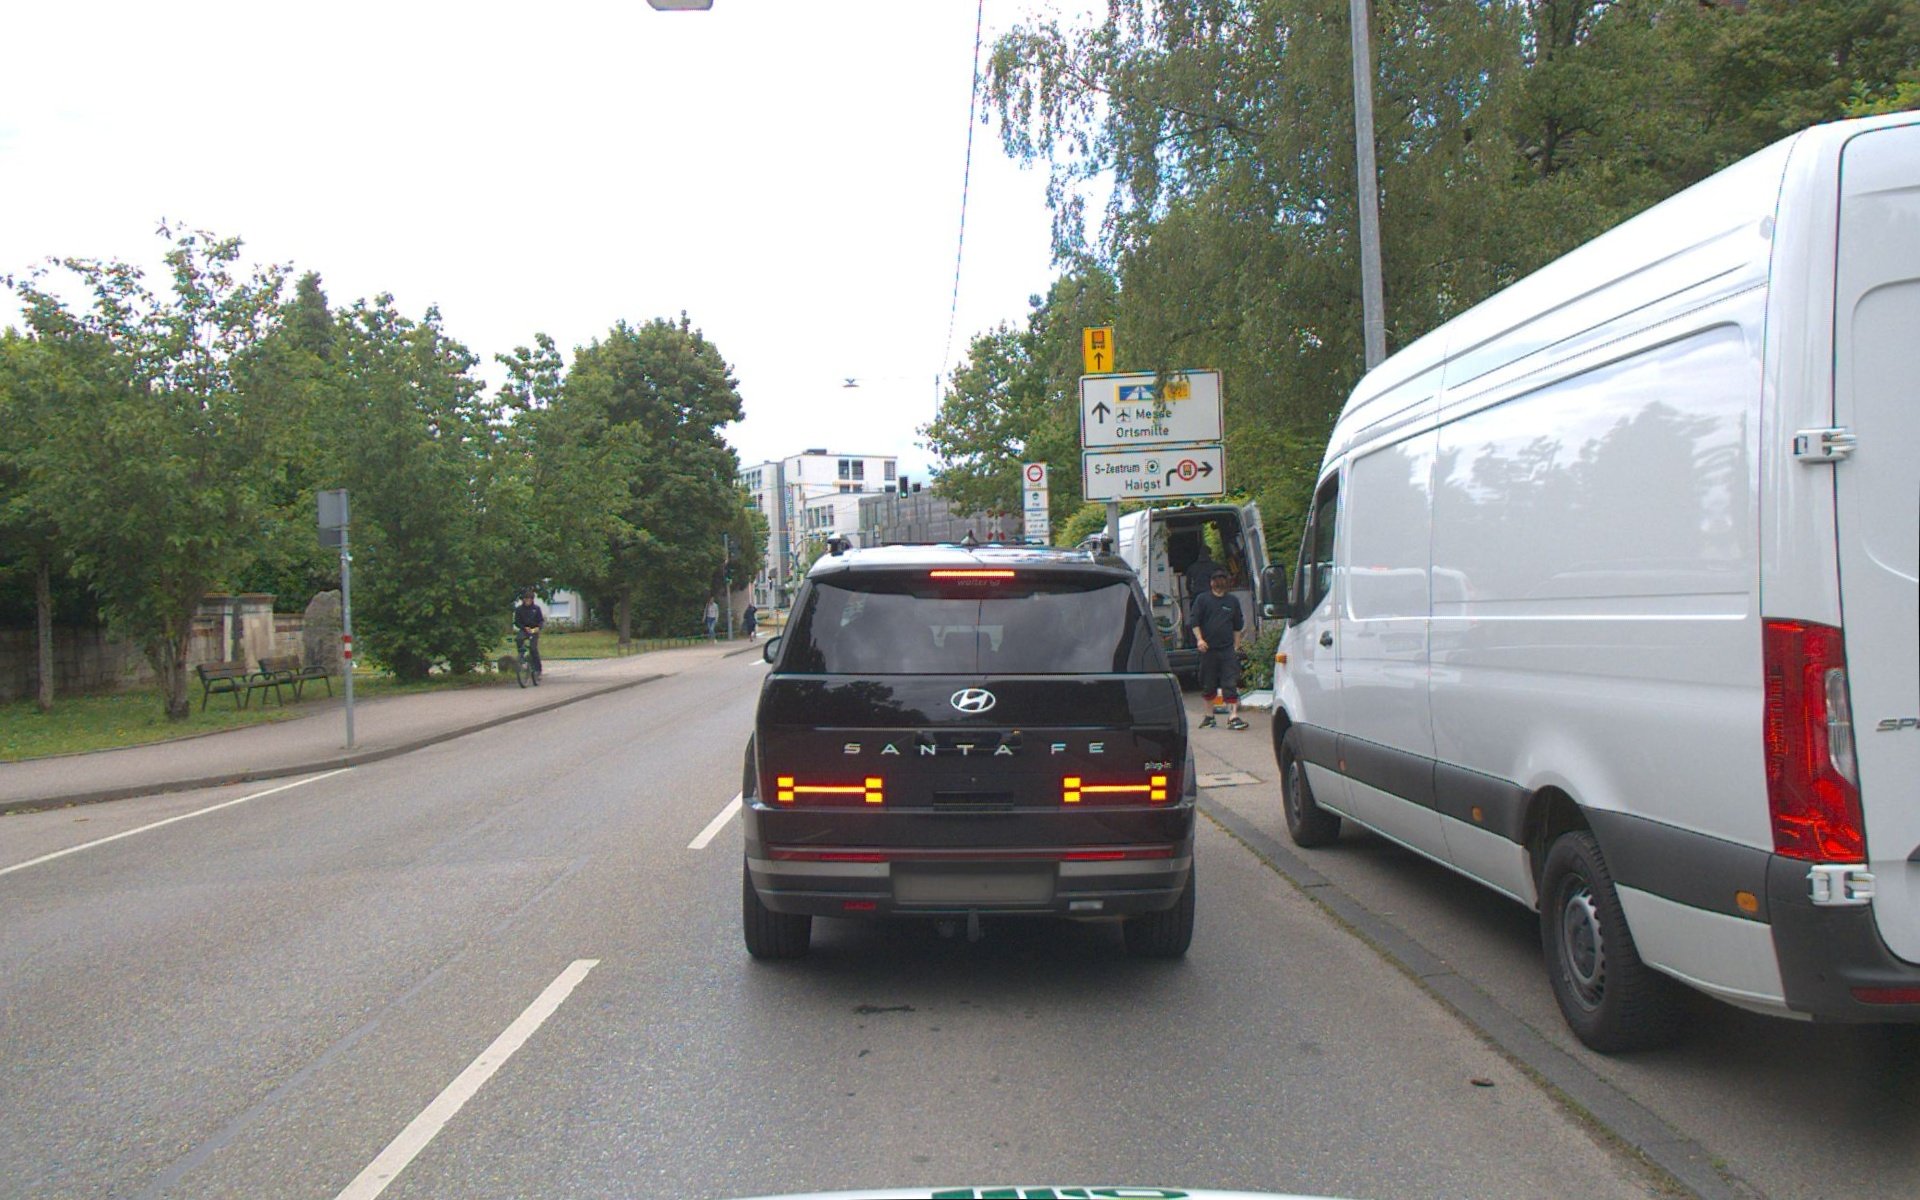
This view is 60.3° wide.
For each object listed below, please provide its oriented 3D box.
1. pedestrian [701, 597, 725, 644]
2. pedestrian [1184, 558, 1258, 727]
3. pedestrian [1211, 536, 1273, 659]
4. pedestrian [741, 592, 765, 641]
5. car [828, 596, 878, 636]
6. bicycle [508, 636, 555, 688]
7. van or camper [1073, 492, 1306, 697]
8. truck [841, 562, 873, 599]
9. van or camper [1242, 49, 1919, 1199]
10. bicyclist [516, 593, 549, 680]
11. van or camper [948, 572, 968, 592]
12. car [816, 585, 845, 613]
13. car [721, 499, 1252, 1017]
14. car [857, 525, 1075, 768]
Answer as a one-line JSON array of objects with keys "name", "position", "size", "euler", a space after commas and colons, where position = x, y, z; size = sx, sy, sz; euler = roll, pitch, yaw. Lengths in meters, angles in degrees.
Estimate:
[{"name": "pedestrian", "position": [-9.306, 0.770, 62.299], "size": [0.751, 1.779, 0.904], "euler": [0, 0, -1]}, {"name": "pedestrian", "position": [2.797, 0.446, 17.663], "size": [0.734, 1.751, 0.792], "euler": [1, -1, 10]}, {"name": "pedestrian", "position": [3.988, -0.037, 23.376], "size": [0.721, 1.672, 0.802], "euler": [-3, -1, 14]}, {"name": "pedestrian", "position": [-8.680, 0.692, 69.244], "size": [0.812, 2.049, 1.047], "euler": [1, -1, 1]}, {"name": "car", "position": [-4.283, 0.624, 66.778], "size": [1.721, 1.427, 4.413], "euler": [-4, 0, -1]}, {"name": "bicycle", "position": [-8.528, 1.219, 32.969], "size": [0.485, 0.981, 1.748], "euler": [1, 0, -1]}, {"name": "van or camper", "position": [3.287, -0.022, 25.327], "size": [2.294, 2.537, 6.600], "euler": [-5, -1, -2]}, {"name": "truck", "position": [-11.654, -2.188, 186.934], "size": [3.048, 3.926, 9.607], "euler": [-2, 0, -7]}, {"name": "van or camper", "position": [2.878, 0.034, 7.045], "size": [1.951, 2.670, 6.543], "euler": [-5, 0, -1]}, {"name": "bicyclist", "position": [-8.516, 0.720, 32.932], "size": [0.477, 1.713, 0.588], "euler": [1, -1, -1]}, {"name": "van or camper", "position": [-0.211, -1.886, 172.513], "size": [1.760, 2.033, 3.820], "euler": [1, 0, -4]}, {"name": "car", "position": [-11.319, -0.059, 144.032], "size": [2.288, 2.356, 4.950], "euler": [-2, 0, -7]}, {"name": "car", "position": [0.071, 0.571, 7.874], "size": [1.858, 1.807, 3.993], "euler": [1, 0, -1]}, {"name": "car", "position": [0.027, 0.414, 16.339], "size": [1.858, 2.077, 3.993], "euler": [1, 0, -1]}]
